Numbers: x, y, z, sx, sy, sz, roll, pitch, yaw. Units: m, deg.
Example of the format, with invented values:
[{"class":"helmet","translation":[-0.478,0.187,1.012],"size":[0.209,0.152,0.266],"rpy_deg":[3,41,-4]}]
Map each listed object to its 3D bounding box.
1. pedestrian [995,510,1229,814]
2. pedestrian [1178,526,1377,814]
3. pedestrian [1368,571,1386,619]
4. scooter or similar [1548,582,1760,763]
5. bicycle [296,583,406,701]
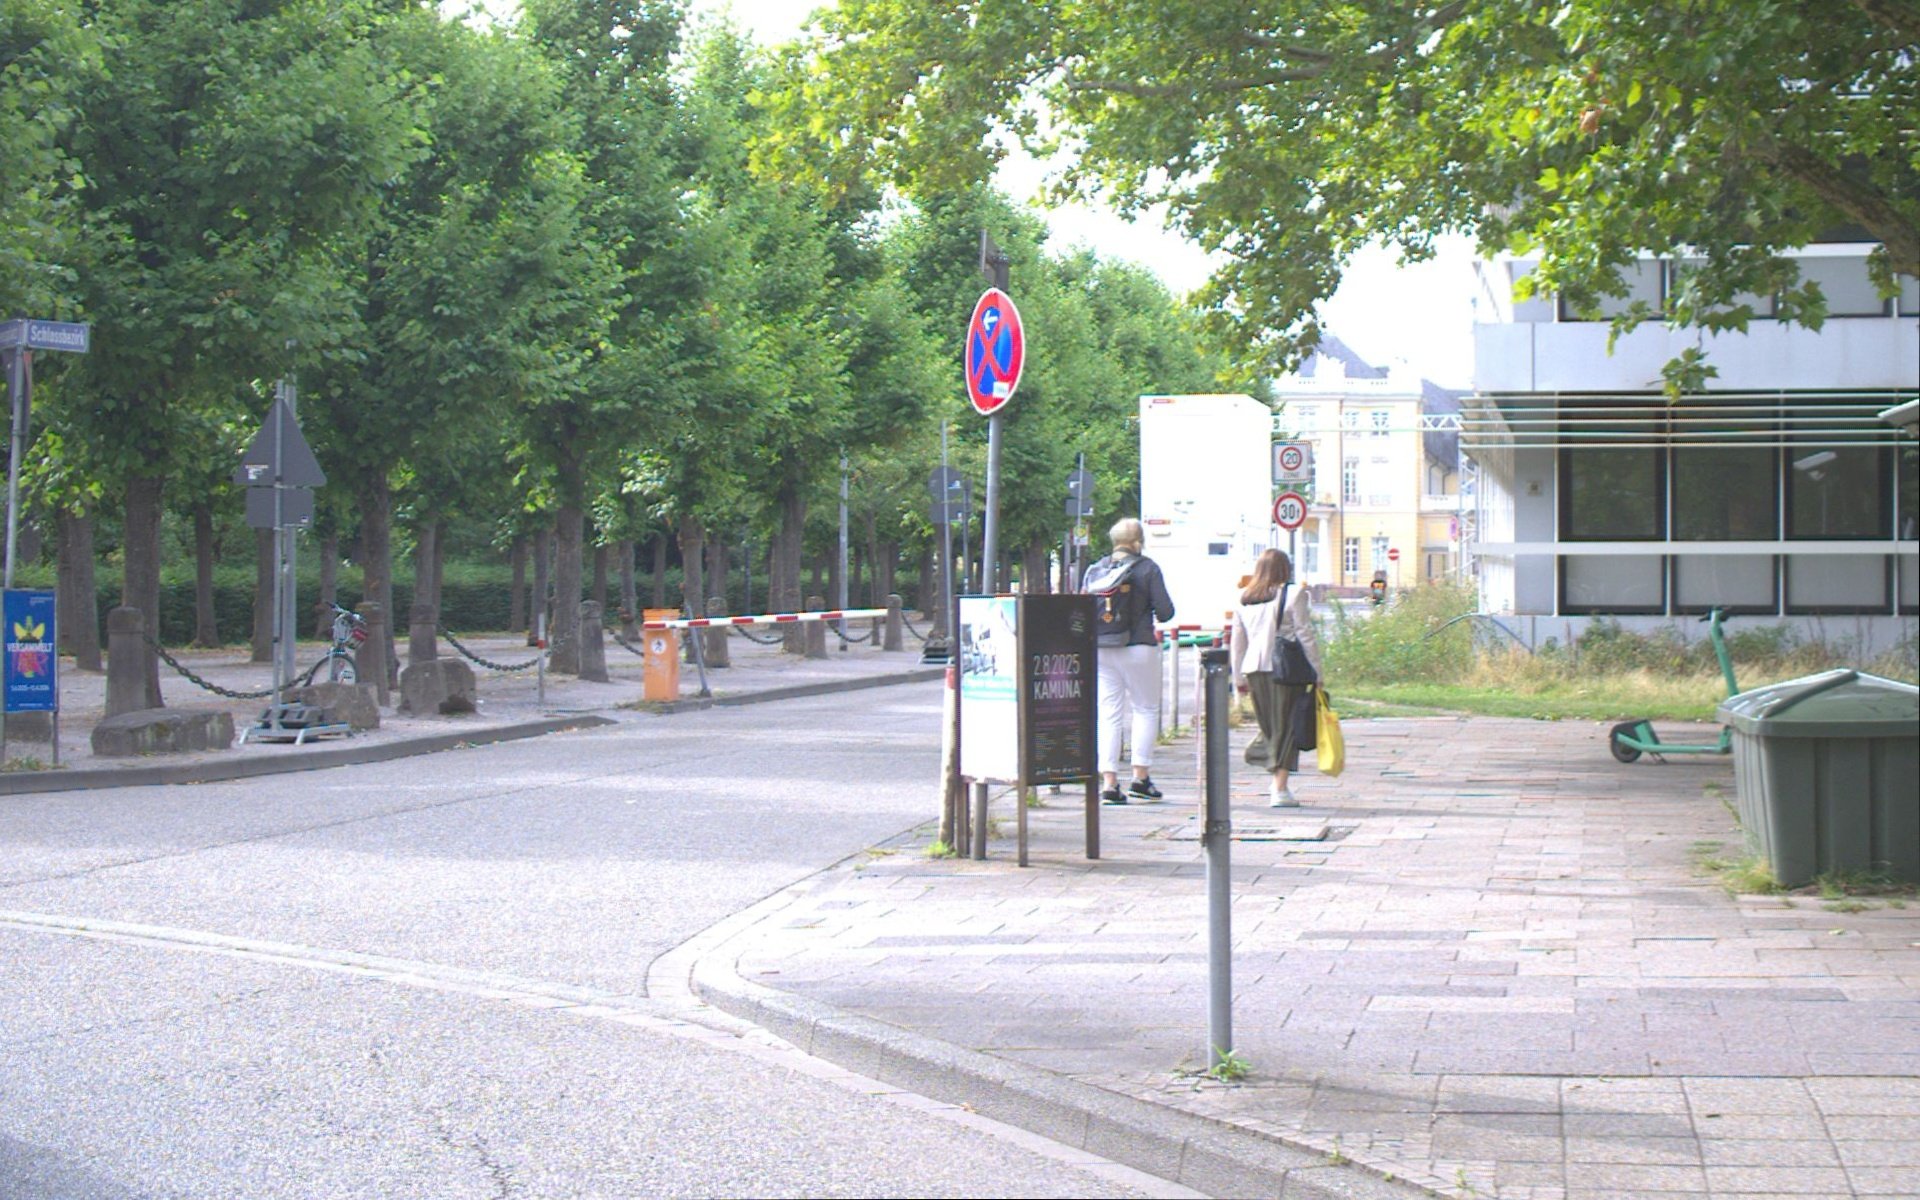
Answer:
[{"class":"pedestrian","translation":[0.925,0.349,20.663],"size":[0.961,1.735,1.254],"rpy_deg":[2,1,24]},{"class":"pedestrian","translation":[1.882,0.395,20.347],"size":[0.897,1.635,0.851],"rpy_deg":[2,1,25]},{"class":"pedestrian","translation":[14.128,-0.177,116.510],"size":[0.459,1.619,0.632],"rpy_deg":[2,1,-3]},{"class":"scooter or similar","translation":[5.102,0.523,25.329],"size":[1.450,1.264,0.570],"rpy_deg":[2,1,6]},{"class":"bicycle","translation":[-6.267,0.413,35.470],"size":[0.952,1.106,2.580],"rpy_deg":[1,1,-7]}]
